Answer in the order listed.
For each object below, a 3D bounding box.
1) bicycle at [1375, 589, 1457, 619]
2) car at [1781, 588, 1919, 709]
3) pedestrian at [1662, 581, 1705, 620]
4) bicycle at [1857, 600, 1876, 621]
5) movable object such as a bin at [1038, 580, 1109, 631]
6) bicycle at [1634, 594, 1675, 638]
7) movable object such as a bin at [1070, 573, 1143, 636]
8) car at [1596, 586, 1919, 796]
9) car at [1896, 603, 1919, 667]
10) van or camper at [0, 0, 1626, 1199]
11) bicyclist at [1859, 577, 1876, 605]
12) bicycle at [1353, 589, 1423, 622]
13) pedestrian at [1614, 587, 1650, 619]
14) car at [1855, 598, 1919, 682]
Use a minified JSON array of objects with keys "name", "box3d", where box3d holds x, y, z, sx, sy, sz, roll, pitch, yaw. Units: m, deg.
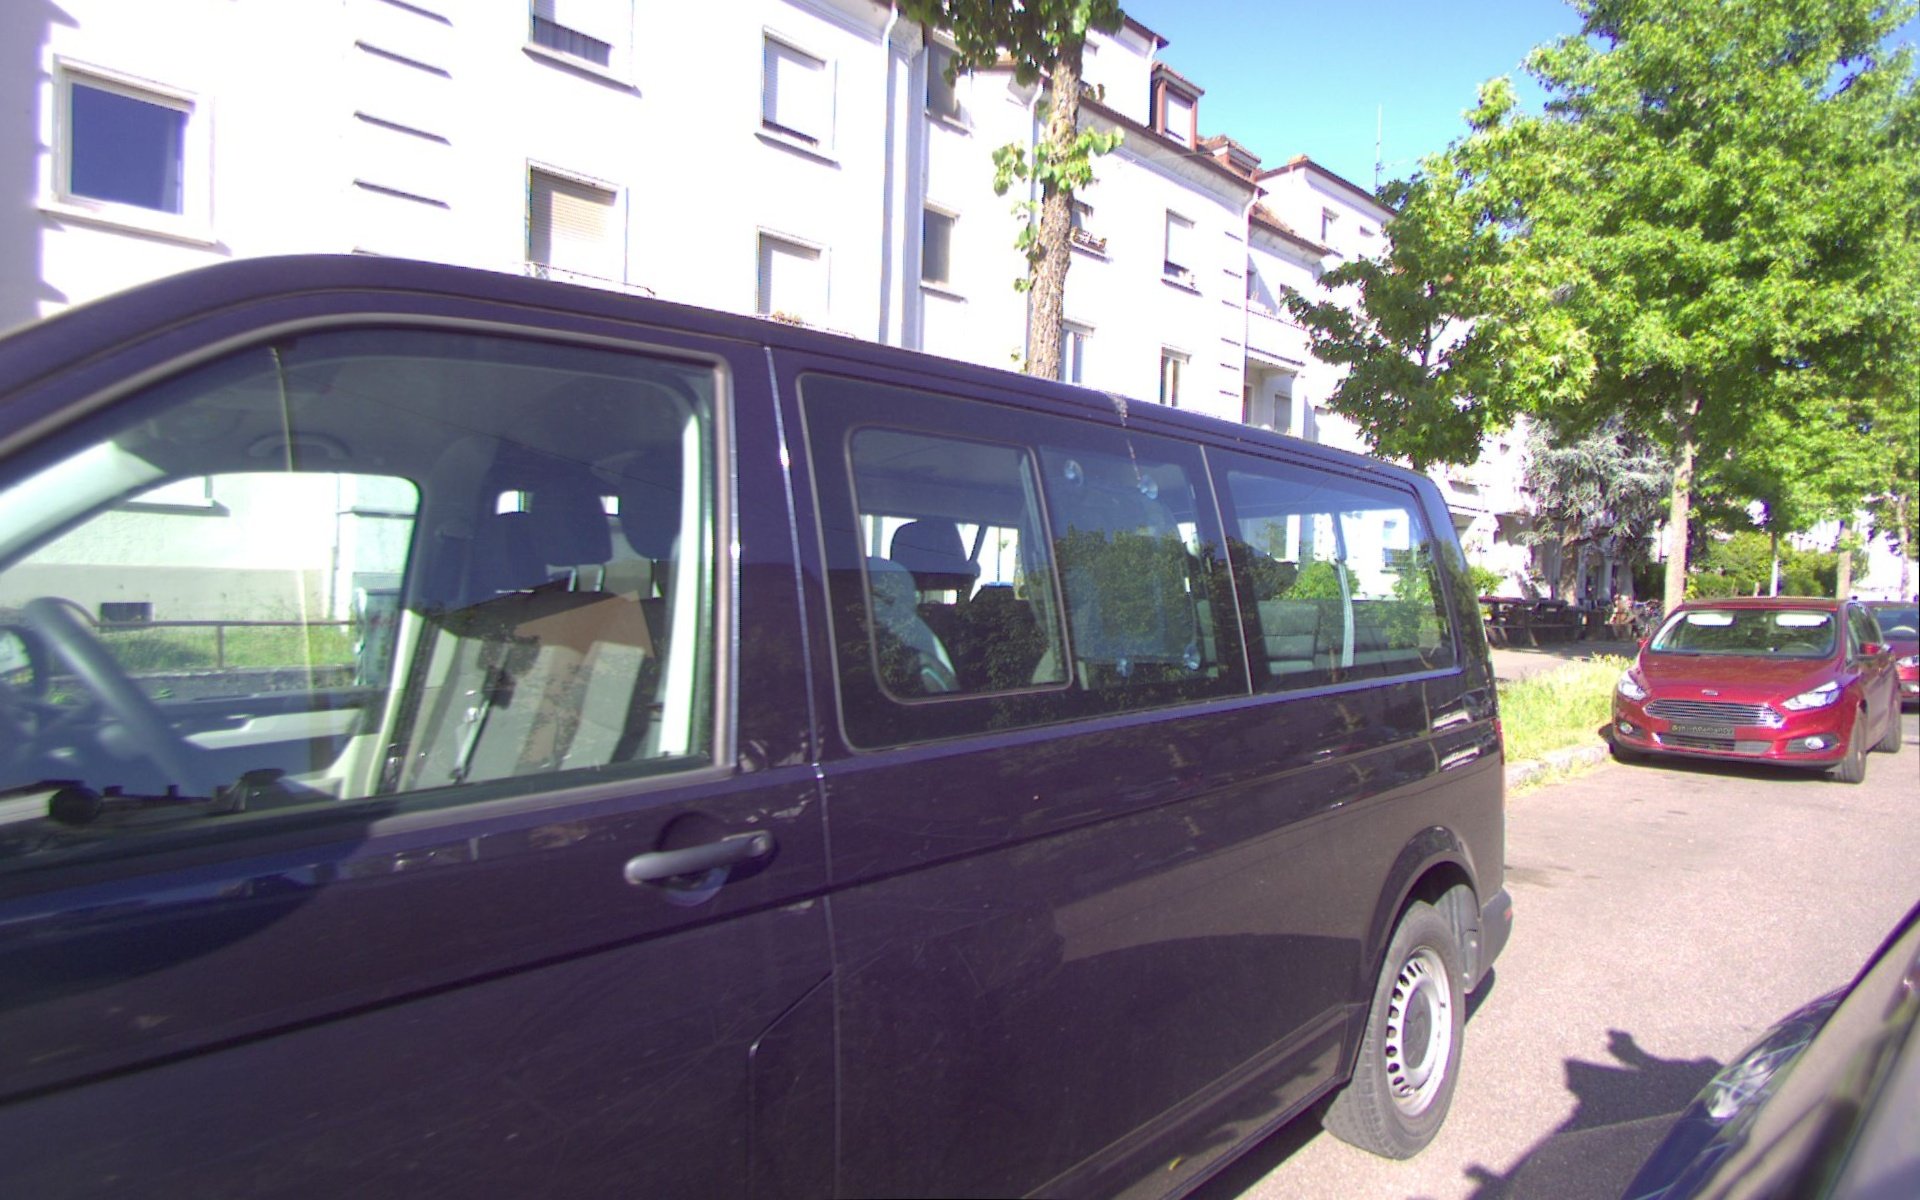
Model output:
[{"name":"bicycle","box3d":[13.019,0.123,28.940,0.615,0.779,2.063,0,-2,-40]},{"name":"car","box3d":[14.675,0.661,15.922,4.514,1.586,1.934,-1,4,-41]},{"name":"pedestrian","box3d":[26.424,0.009,36.979,1.021,1.395,0.713,2,2,14]},{"name":"bicycle","box3d":[45.026,0.533,50.282,1.756,0.973,0.459,-1,4,-42]},{"name":"movable object such as a bin","box3d":[2.023,0.085,18.076,0.991,0.873,0.778,0,0,-36]},{"name":"bicycle","box3d":[19.885,0.445,28.955,2.138,1.212,0.489,-1,0,-42]},{"name":"movable object such as a bin","box3d":[2.515,0.074,17.394,0.991,1.039,0.778,0,0,-37]},{"name":"car","box3d":[8.449,0.693,10.361,4.885,1.633,1.902,-1,2,-40]},{"name":"car","box3d":[23.313,0.796,23.643,3.632,1.415,1.767,-1,0,-41]},{"name":"van or camper","box3d":[-0.454,0.447,2.300,5.294,1.886,1.992,-1,0,-42]},{"name":"bicyclist","box3d":[44.992,-0.440,50.176,0.707,1.354,0.497,0,3,-41]},{"name":"bicycle","box3d":[13.529,0.155,32.035,0.548,0.929,2.037,0,3,-36]},{"name":"pedestrian","box3d":[25.223,0.101,37.970,1.033,1.157,0.705,0,0,43]},{"name":"car","box3d":[18.969,0.741,19.706,4.413,1.424,1.715,-1,3,-41]}]
